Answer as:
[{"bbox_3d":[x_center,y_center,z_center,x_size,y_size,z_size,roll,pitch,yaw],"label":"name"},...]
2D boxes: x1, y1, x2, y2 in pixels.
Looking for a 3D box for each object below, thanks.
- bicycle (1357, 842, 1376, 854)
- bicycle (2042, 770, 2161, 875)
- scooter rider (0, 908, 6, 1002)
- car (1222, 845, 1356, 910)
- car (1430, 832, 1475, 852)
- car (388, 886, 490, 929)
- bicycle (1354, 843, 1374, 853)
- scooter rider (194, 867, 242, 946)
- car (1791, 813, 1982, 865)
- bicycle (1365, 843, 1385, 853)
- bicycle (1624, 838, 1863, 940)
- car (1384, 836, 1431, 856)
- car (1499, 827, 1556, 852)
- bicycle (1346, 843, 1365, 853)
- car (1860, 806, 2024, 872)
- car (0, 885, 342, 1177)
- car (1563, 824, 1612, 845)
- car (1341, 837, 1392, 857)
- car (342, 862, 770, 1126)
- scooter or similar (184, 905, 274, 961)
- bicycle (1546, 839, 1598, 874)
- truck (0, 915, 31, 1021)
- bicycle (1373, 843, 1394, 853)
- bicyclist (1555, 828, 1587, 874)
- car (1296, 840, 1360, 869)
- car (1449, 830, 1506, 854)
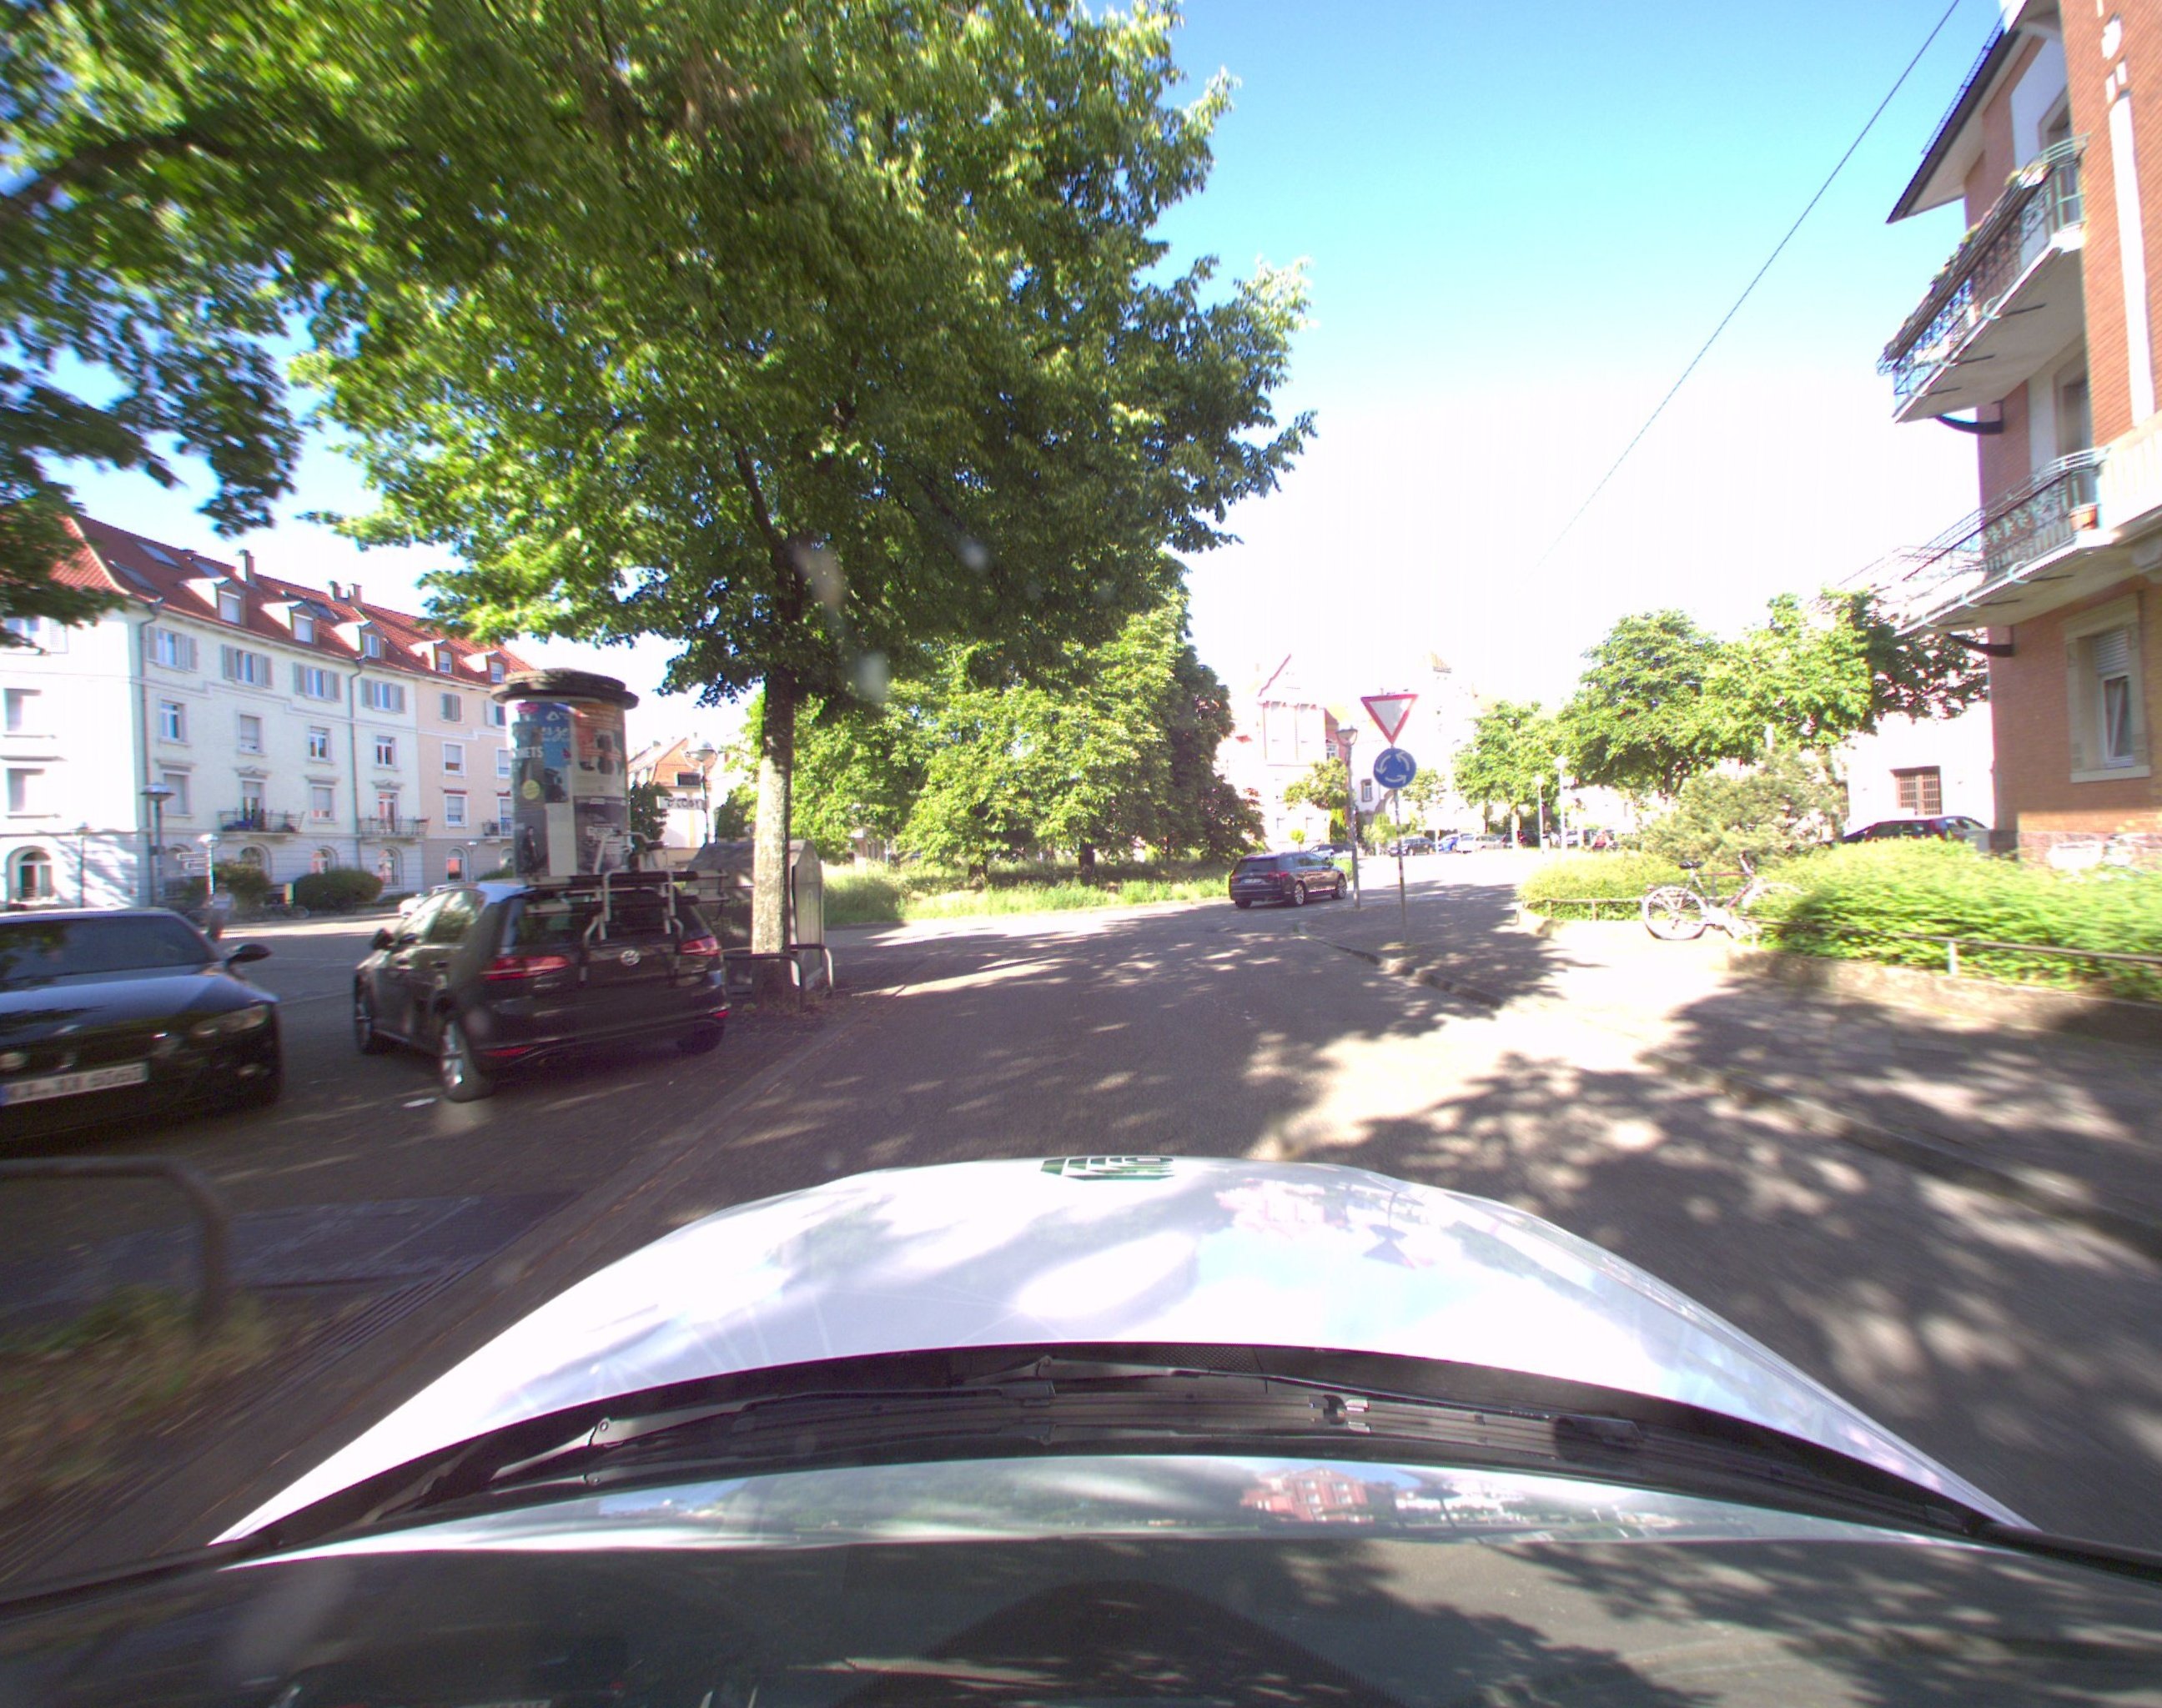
[{"bbox_3d":[23.924,-0.507,68.229,0.477,0.914,2.279,-3,0,-8],"label":"bicycle"},{"bbox_3d":[11.427,-0.349,8.566,1.662,1.061,0.390,-3,0,26],"label":"bicycle"},{"bbox_3d":[-17.930,1.658,13.172,0.518,1.529,0.611,-3,0,37],"label":"scooter rider"},{"bbox_3d":[5.841,0.610,22.580,1.698,1.483,4.170,-3,0,44],"label":"car"},{"bbox_3d":[31.009,-0.998,67.973,3.486,1.488,1.655,-3,0,-29],"label":"car"},{"bbox_3d":[-29.359,2.411,37.428,1.996,1.607,4.108,-3,0,-13],"label":"car"},{"bbox_3d":[23.428,-0.488,67.478,0.477,0.800,2.279,-3,0,-8],"label":"bicycle"},{"bbox_3d":[-21.857,1.314,20.620,0.610,1.933,0.560,-3,0,18],"label":"scooter rider"},{"bbox_3d":[24.911,-0.452,25.410,3.948,1.387,1.753,-3,0,36],"label":"car"},{"bbox_3d":[24.746,-0.494,68.583,0.477,0.822,2.279,-3,0,-8],"label":"bicycle"},{"bbox_3d":[8.056,0.449,10.021,2.202,1.159,0.390,-3,0,26],"label":"bicycle"},{"bbox_3d":[26.344,-0.644,65.689,3.660,1.369,1.741,-3,0,-35],"label":"car"},{"bbox_3d":[29.828,-0.988,54.374,3.747,1.455,1.546,-3,0,-28],"label":"car"},{"bbox_3d":[22.758,-0.482,67.558,0.478,0.800,2.019,-3,0,-13],"label":"bicycle"},{"bbox_3d":[21.784,-0.378,20.611,3.515,1.472,1.562,-3,0,-20],"label":"car"},{"bbox_3d":[-6.861,1.006,5.659,3.948,1.403,1.798,-3,0,37],"label":"car"},{"bbox_3d":[39.827,-1.525,64.076,3.465,1.436,1.646,-3,0,-26],"label":"car"},{"bbox_3d":[22.013,-0.537,62.795,3.658,1.369,1.742,-3,0,-32],"label":"car"},{"bbox_3d":[-4.468,0.876,6.673,4.088,1.481,1.787,-2,-1,40],"label":"car"},{"bbox_3d":[-21.511,2.000,20.564,2.101,1.310,0.566,-3,0,14],"label":"scooter or similar"},{"bbox_3d":[15.403,0.062,25.585,0.505,1.036,1.876,-3,0,2],"label":"bicycle"},{"bbox_3d":[-15.623,1.622,9.809,1.526,1.435,3.411,-3,0,-2],"label":"truck"},{"bbox_3d":[25.510,-0.509,68.794,0.624,0.786,2.279,-3,0,-8],"label":"bicycle"},{"bbox_3d":[15.395,-0.100,25.611,0.507,1.416,0.742,-3,0,2],"label":"bicyclist"},{"bbox_3d":[14.991,0.042,49.634,1.721,1.564,3.743,-2,-1,-22],"label":"car"},{"bbox_3d":[28.025,-0.832,57.524,3.987,1.455,1.546,-3,0,-28],"label":"car"}]
